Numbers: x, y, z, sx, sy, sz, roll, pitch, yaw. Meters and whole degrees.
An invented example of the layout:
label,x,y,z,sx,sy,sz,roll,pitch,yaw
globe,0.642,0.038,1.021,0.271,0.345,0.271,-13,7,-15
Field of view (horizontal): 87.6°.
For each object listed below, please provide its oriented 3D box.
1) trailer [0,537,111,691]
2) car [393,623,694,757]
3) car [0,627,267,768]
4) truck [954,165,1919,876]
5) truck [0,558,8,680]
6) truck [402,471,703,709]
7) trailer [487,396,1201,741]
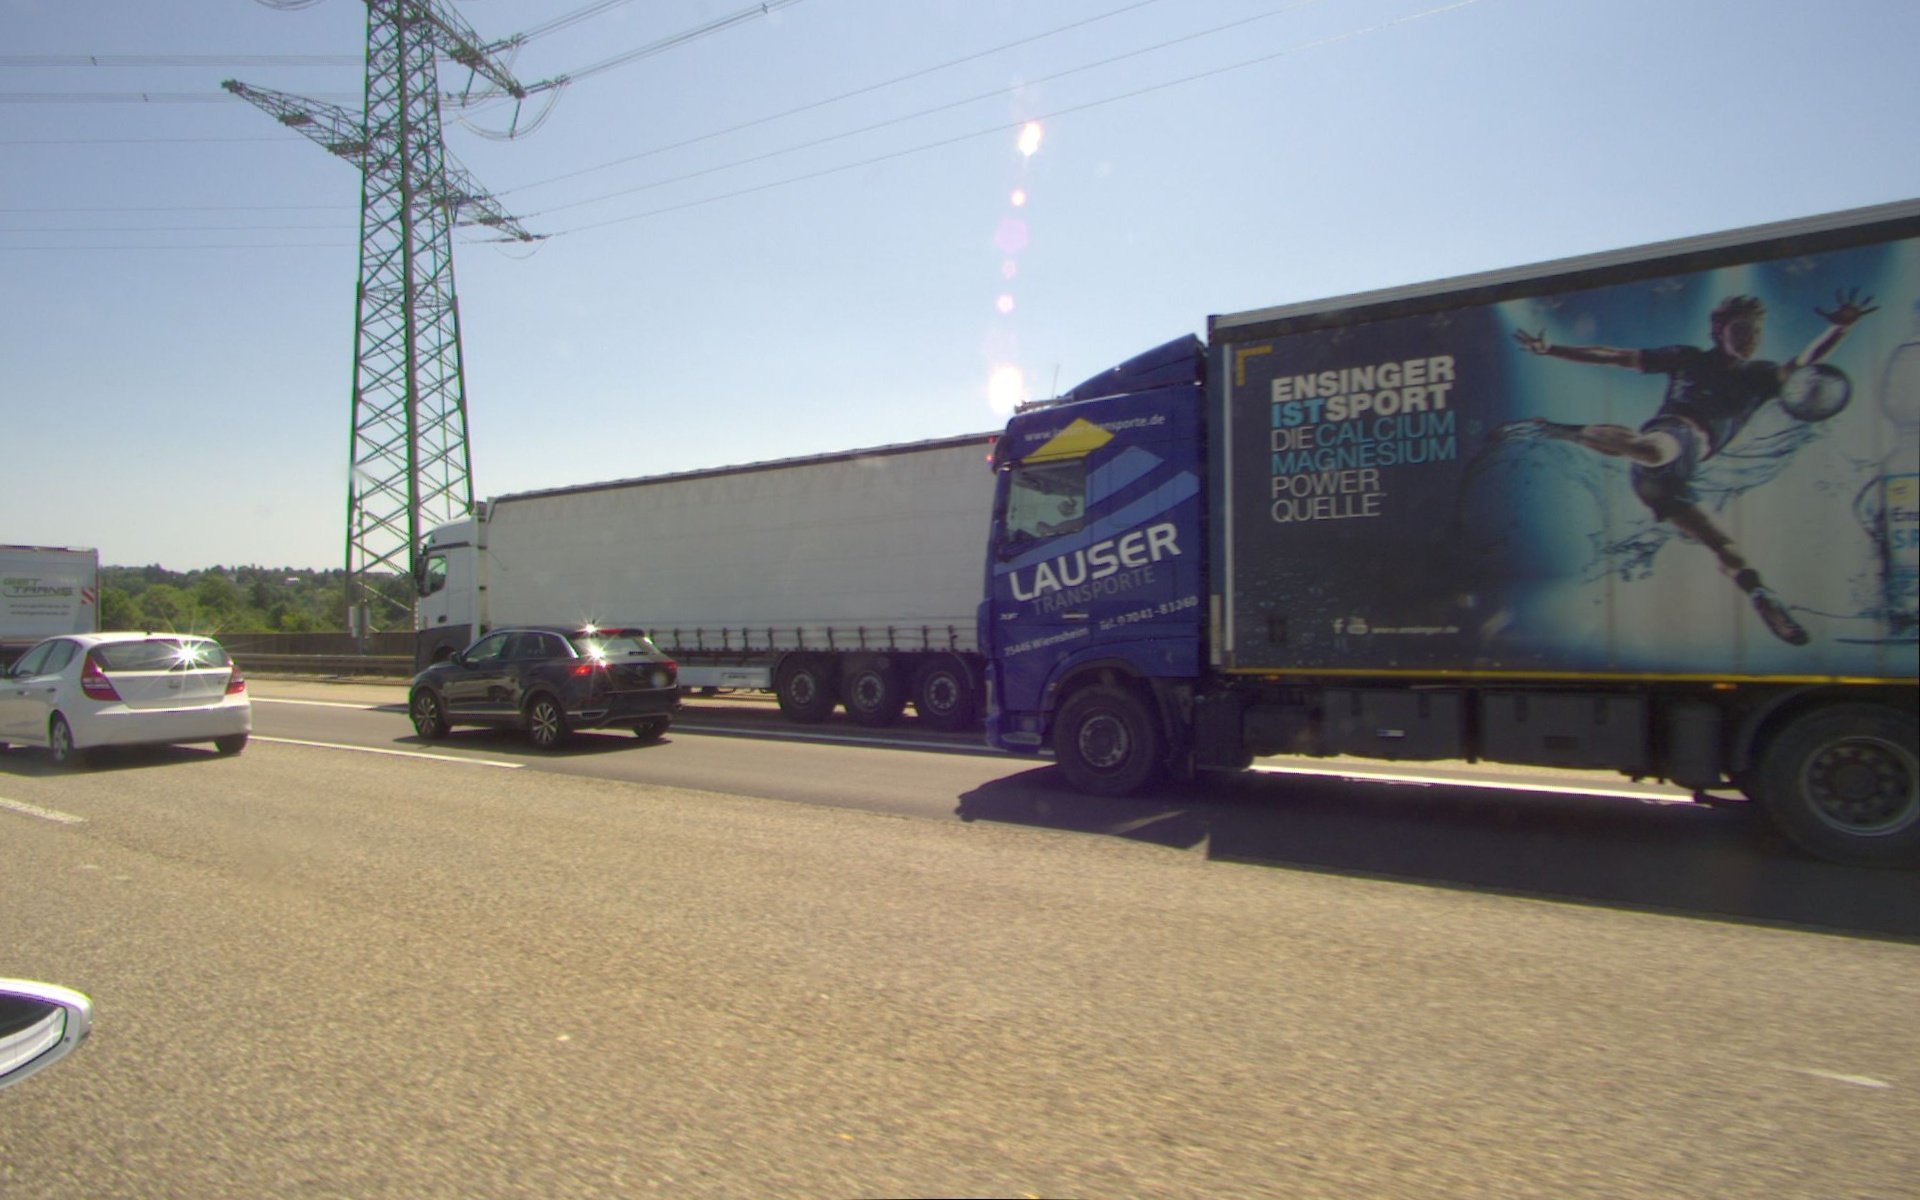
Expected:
label,x,y,z,sx,sy,sz,roll,pitch,yaw
trailer,-26.257,0.418,27.151,7.899,3.748,2.693,-1,-1,32
car,-5.629,1.115,13.399,4.048,1.546,1.733,-1,-2,33
car,-10.624,1.086,12.470,4.232,1.474,1.785,-1,-1,32
truck,4.947,-0.410,7.677,10.298,4.118,2.518,-1,-2,32
truck,-34.191,0.649,32.161,10.852,3.695,2.652,-1,-1,32
truck,-8.377,-0.061,20.431,6.072,4.194,2.688,-1,-2,32
trailer,-2.806,-0.217,16.886,13.234,4.194,2.710,-1,-2,32
